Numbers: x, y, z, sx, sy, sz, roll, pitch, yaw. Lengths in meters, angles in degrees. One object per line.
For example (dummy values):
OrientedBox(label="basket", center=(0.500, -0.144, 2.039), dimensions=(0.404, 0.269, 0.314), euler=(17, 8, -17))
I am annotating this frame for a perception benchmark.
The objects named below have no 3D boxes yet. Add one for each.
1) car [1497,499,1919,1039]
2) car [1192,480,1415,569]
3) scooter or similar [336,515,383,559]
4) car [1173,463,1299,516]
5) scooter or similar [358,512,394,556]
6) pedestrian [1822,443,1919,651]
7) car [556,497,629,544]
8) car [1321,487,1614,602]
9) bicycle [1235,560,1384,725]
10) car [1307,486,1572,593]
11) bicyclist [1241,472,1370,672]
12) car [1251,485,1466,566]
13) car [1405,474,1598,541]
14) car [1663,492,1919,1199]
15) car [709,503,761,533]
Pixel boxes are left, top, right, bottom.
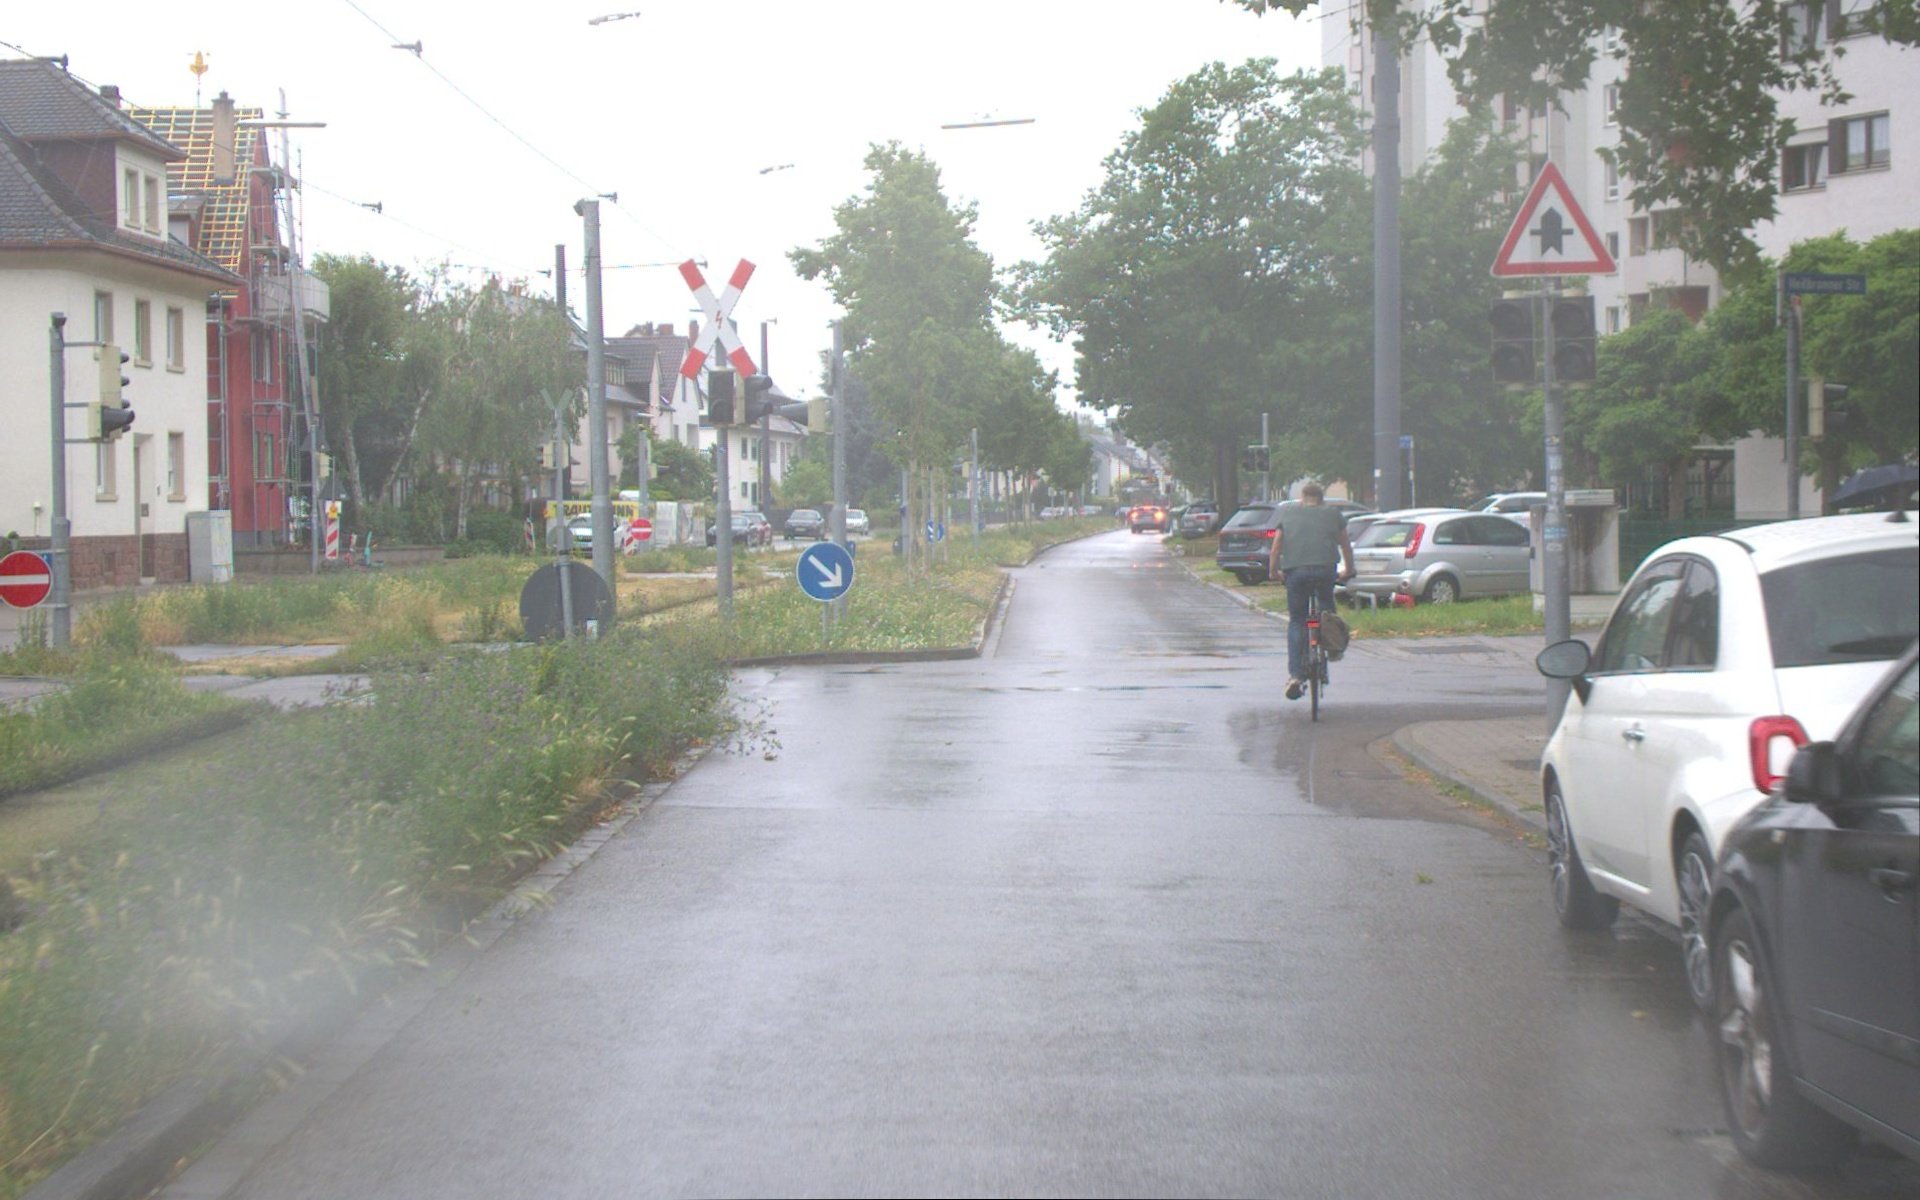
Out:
OrientedBox(label="car", center=(2.985, 0.430, 11.904), dimensions=(1.558, 1.514, 4.001), euler=(-1, 2, -1))
OrientedBox(label="car", center=(6.853, -1.516, 68.402), dimensions=(4.337, 1.645, 1.857), euler=(-3, 2, -39))
OrientedBox(label="scooter or similar", center=(-15.737, -1.661, 90.068), dimensions=(0.441, 1.125, 1.280), euler=(0, 2, 33))
OrientedBox(label="car", center=(10.222, -4.097, 127.238), dimensions=(4.135, 1.713, 2.000), euler=(-5, 3, -28))
OrientedBox(label="scooter or similar", center=(-15.826, -1.799, 93.175), dimensions=(0.394, 1.176, 1.282), euler=(0, 2, 18))
OrientedBox(label="pedestrian", center=(8.279, -0.487, 30.633), dimensions=(1.100, 1.807, 1.433), euler=(0, 2, 12))
OrientedBox(label="car", center=(-12.698, -2.765, 119.035), dimensions=(1.710, 1.537, 4.422), euler=(2, 2, 4))
OrientedBox(label="car", center=(7.400, -0.812, 50.007), dimensions=(3.987, 1.503, 1.784), euler=(-3, 0, -34))
OrientedBox(label="bicycle", center=(2.549, 0.284, 25.344), dimensions=(0.809, 1.093, 2.517), euler=(-1, 2, 0))
OrientedBox(label="car", center=(7.464, -0.947, 53.383), dimensions=(3.988, 1.503, 1.705), euler=(-3, 0, -37))
OrientedBox(label="bicyclist", center=(2.537, -0.219, 25.354), dimensions=(0.809, 1.428, 1.060), euler=(-1, 2, 0))
OrientedBox(label="car", center=(7.596, -1.425, 65.368), dimensions=(3.988, 1.424, 1.734), euler=(-3, 2, -39))
OrientedBox(label="car", center=(14.796, -2.535, 94.053), dimensions=(4.801, 1.739, 2.001), euler=(-1, 2, -12))
OrientedBox(label="car", center=(2.739, 0.513, 6.411), dimensions=(1.899, 1.444, 4.185), euler=(-1, 2, -1))
OrientedBox(label="car", center=(-9.687, -3.550, 148.216), dimensions=(1.663, 1.240, 4.071), euler=(2, 2, 4))
